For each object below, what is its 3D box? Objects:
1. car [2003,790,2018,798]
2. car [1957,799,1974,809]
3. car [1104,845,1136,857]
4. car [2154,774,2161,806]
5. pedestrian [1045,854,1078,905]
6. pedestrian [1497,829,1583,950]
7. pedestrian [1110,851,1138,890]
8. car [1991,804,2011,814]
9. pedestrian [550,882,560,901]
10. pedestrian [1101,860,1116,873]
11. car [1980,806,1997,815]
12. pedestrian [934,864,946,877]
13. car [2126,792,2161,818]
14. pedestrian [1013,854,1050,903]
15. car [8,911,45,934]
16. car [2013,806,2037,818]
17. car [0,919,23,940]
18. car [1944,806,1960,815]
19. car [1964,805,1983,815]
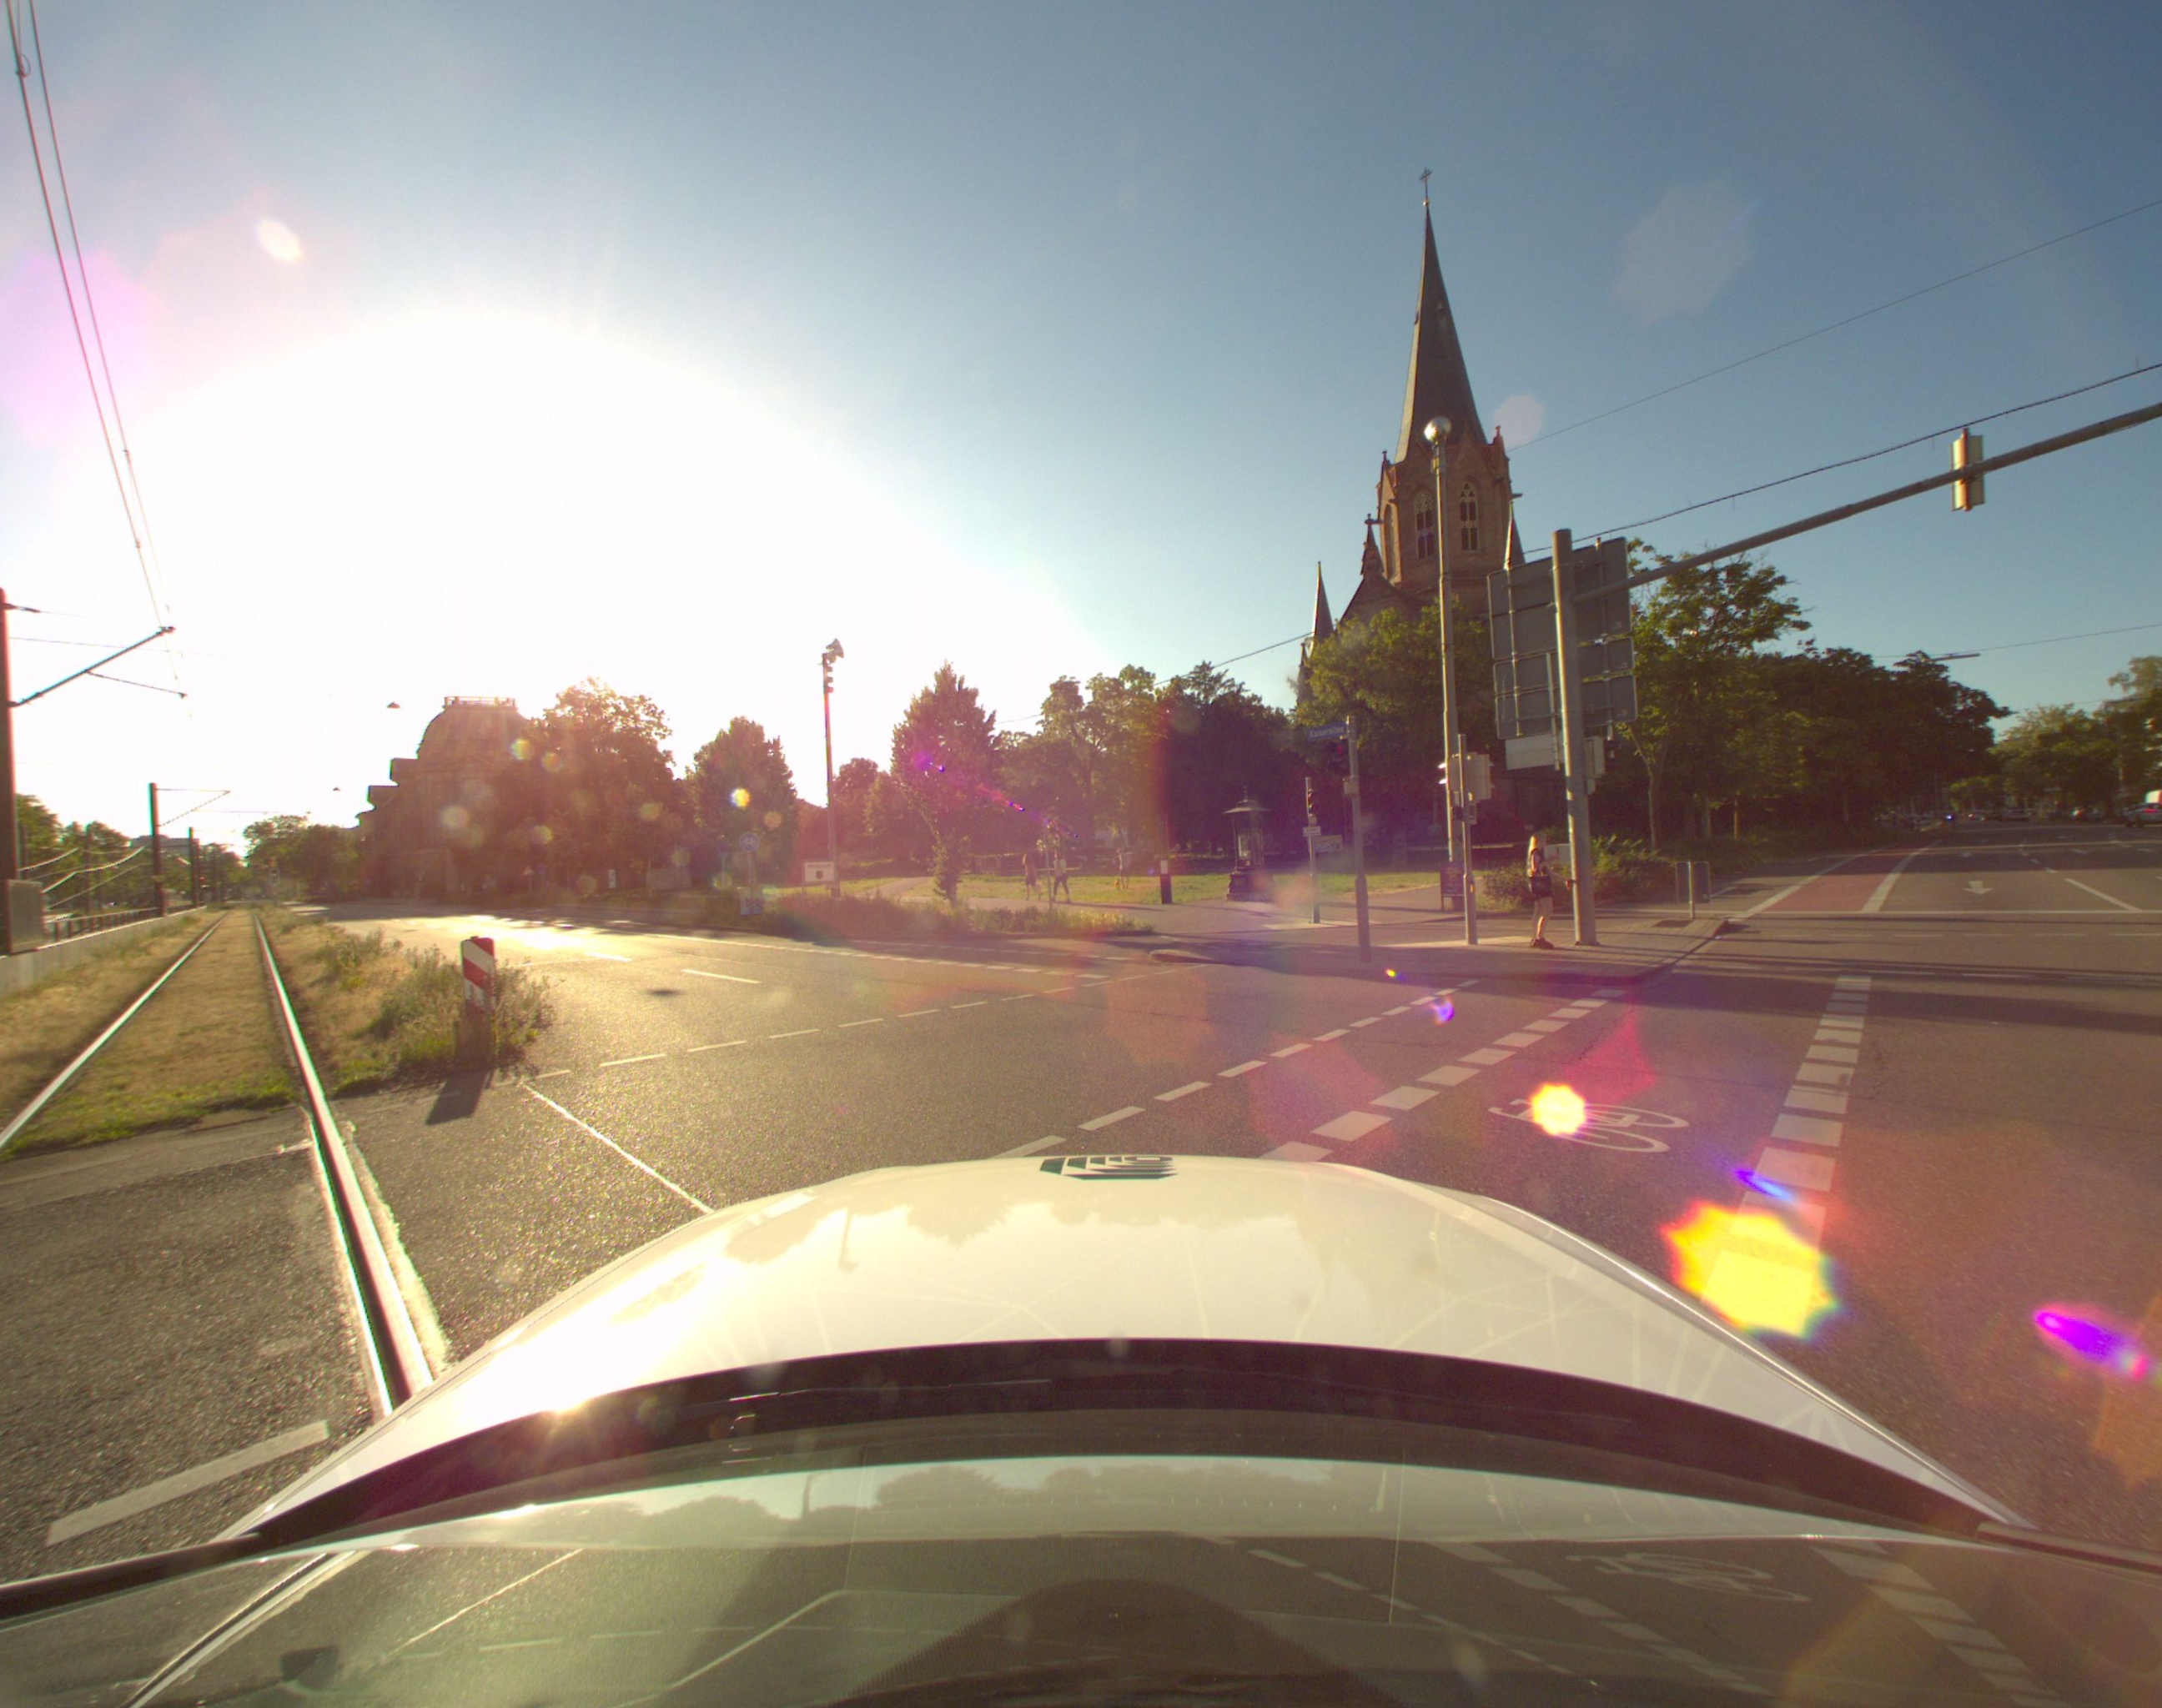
[{"bbox_3d":[161.219,-10.392,141.273,3.285,1.267,1.580,-4,0,-44],"label":"car"},{"bbox_3d":[154.585,-8.758,142.408,4.023,1.671,1.869,-3,1,-44],"label":"car"},{"bbox_3d":[6.073,-0.441,126.257,4.406,1.571,2.013,-3,0,35],"label":"car"},{"bbox_3d":[83.497,-4.922,61.806,4.023,2.440,1.975,-3,1,-44],"label":"car"},{"bbox_3d":[-0.664,0.860,28.089,0.713,1.696,0.886,-3,1,-34],"label":"pedestrian"},{"bbox_3d":[6.999,0.521,12.402,0.973,1.739,0.802,-3,-1,-43],"label":"pedestrian"},{"bbox_3d":[1.907,0.730,36.286,0.845,1.696,1.009,-3,1,-22],"label":"pedestrian"},{"bbox_3d":[125.026,-6.121,110.690,3.285,1.267,1.580,-4,0,-44],"label":"car"},{"bbox_3d":[-50.564,3.586,78.270,0.689,1.822,0.529,-3,-1,-41],"label":"pedestrian"},{"bbox_3d":[2.203,0.977,64.670,0.794,0.953,1.181,-2,1,25],"label":"pedestrian"},{"bbox_3d":[137.912,-6.614,123.774,3.285,1.267,1.580,-4,0,-44],"label":"car"},{"bbox_3d":[-14.024,1.634,81.169,0.834,1.187,0.818,-3,-1,45],"label":"pedestrian"},{"bbox_3d":[70.123,-3.219,53.125,4.294,1.607,1.899,-3,1,-44],"label":"car"},{"bbox_3d":[-1.777,0.889,29.429,0.849,1.696,1.005,-3,1,-38],"label":"pedestrian"},{"bbox_3d":[-103.798,6.686,80.205,3.948,2.013,2.013,-4,0,39],"label":"car"},{"bbox_3d":[112.195,-4.999,96.826,3.285,1.267,1.580,-4,0,-44],"label":"car"},{"bbox_3d":[-129.053,9.059,97.703,3.949,2.244,2.012,-3,0,44],"label":"car"},{"bbox_3d":[135.022,-6.788,126.273,3.285,1.267,1.580,-4,0,-44],"label":"car"},{"bbox_3d":[123.325,-6.085,112.582,3.285,1.267,1.580,-4,0,-44],"label":"car"}]
